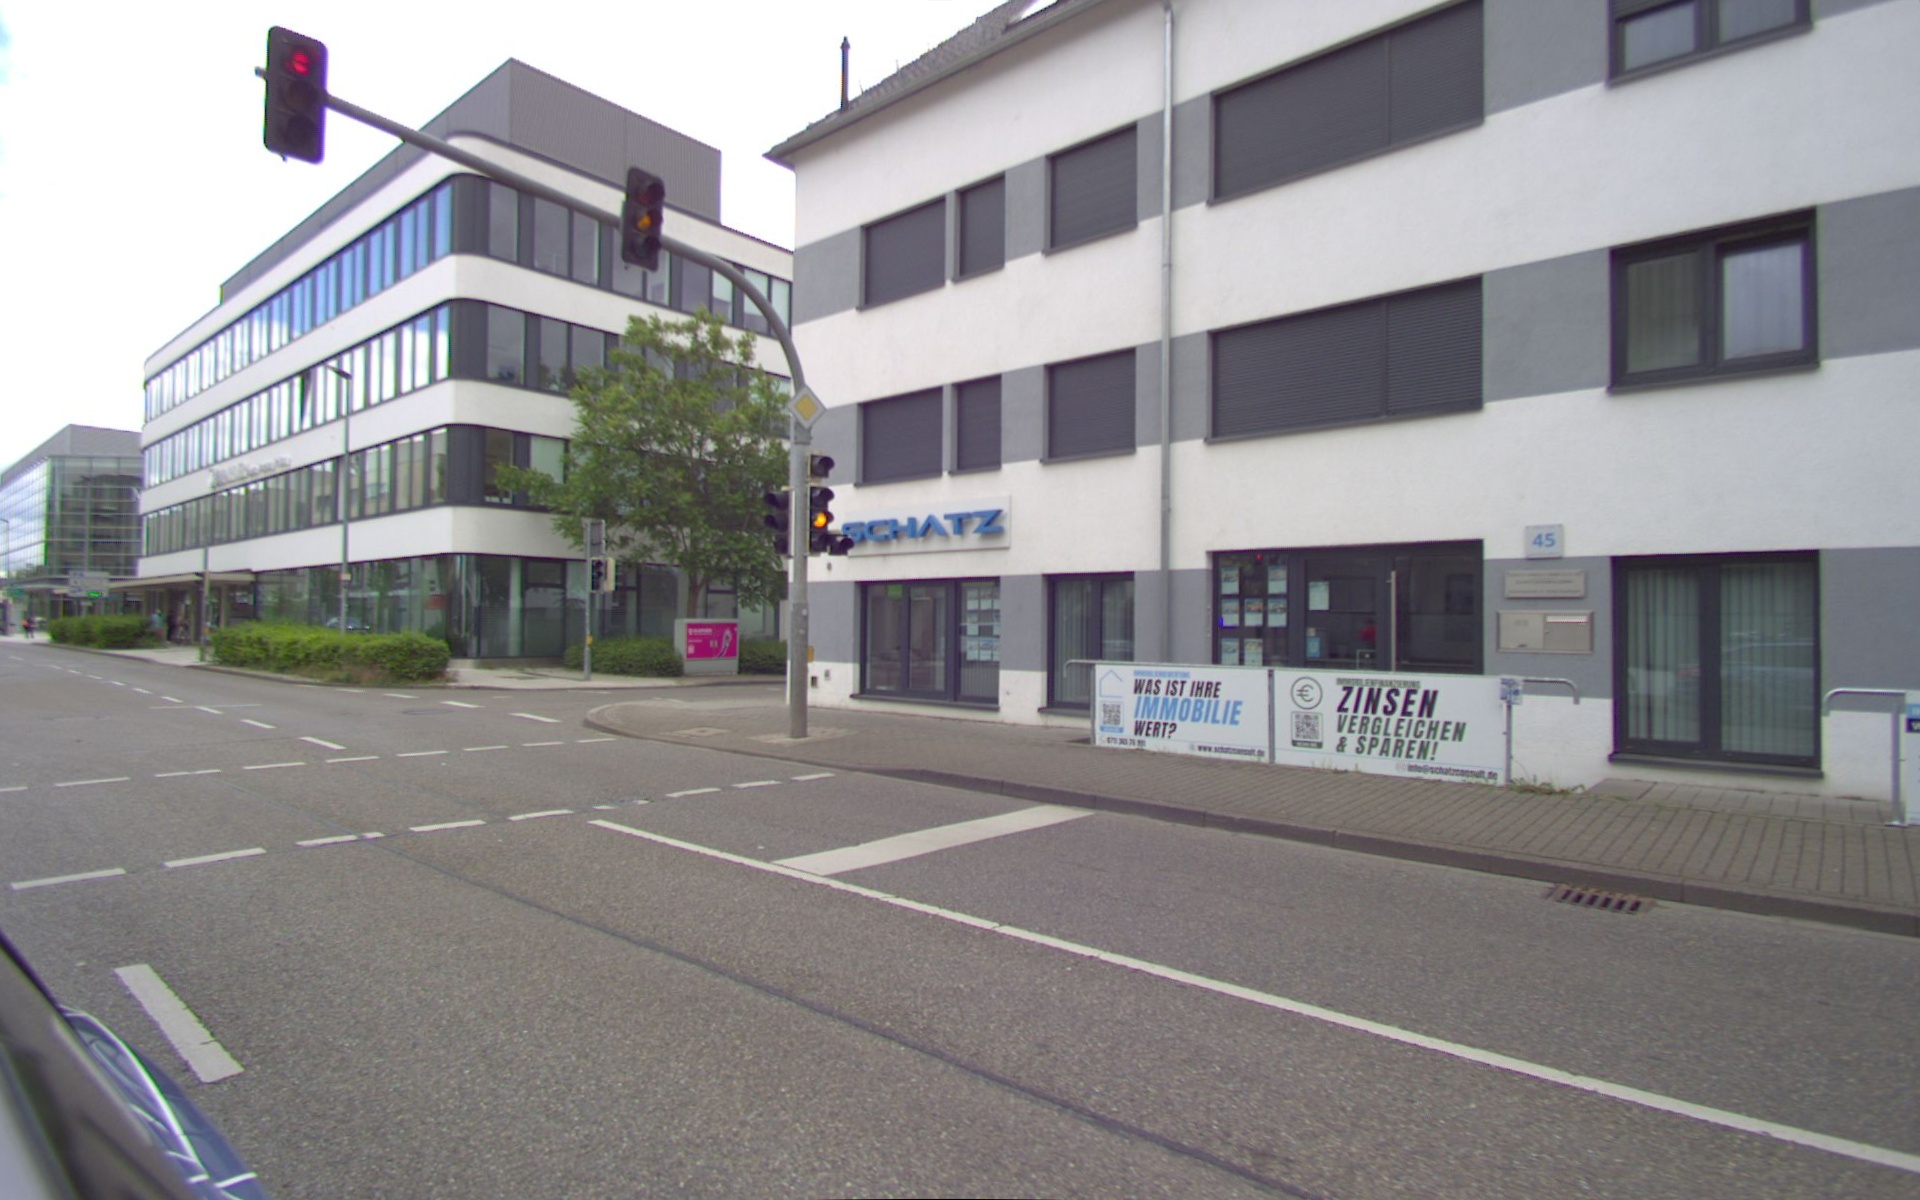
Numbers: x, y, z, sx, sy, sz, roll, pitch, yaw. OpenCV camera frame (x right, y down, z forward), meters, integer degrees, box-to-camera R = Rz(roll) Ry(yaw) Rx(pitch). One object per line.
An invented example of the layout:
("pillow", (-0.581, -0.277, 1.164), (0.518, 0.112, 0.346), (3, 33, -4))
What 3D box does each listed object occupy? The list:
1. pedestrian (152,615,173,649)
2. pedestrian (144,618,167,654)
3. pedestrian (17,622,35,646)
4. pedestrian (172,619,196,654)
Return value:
("pedestrian", (-40.876, 1.660, 51.852), (0.501, 1.723, 0.613), (0, -3, 10))
("pedestrian", (-37.845, 1.687, 47.607), (0.931, 1.686, 0.722), (-2, -2, 43))
("pedestrian", (-62.593, 2.293, 67.816), (0.820, 1.579, 0.813), (1, -2, -44))
("pedestrian", (-36.642, 1.712, 47.787), (0.931, 1.625, 0.722), (-2, -2, 43))
